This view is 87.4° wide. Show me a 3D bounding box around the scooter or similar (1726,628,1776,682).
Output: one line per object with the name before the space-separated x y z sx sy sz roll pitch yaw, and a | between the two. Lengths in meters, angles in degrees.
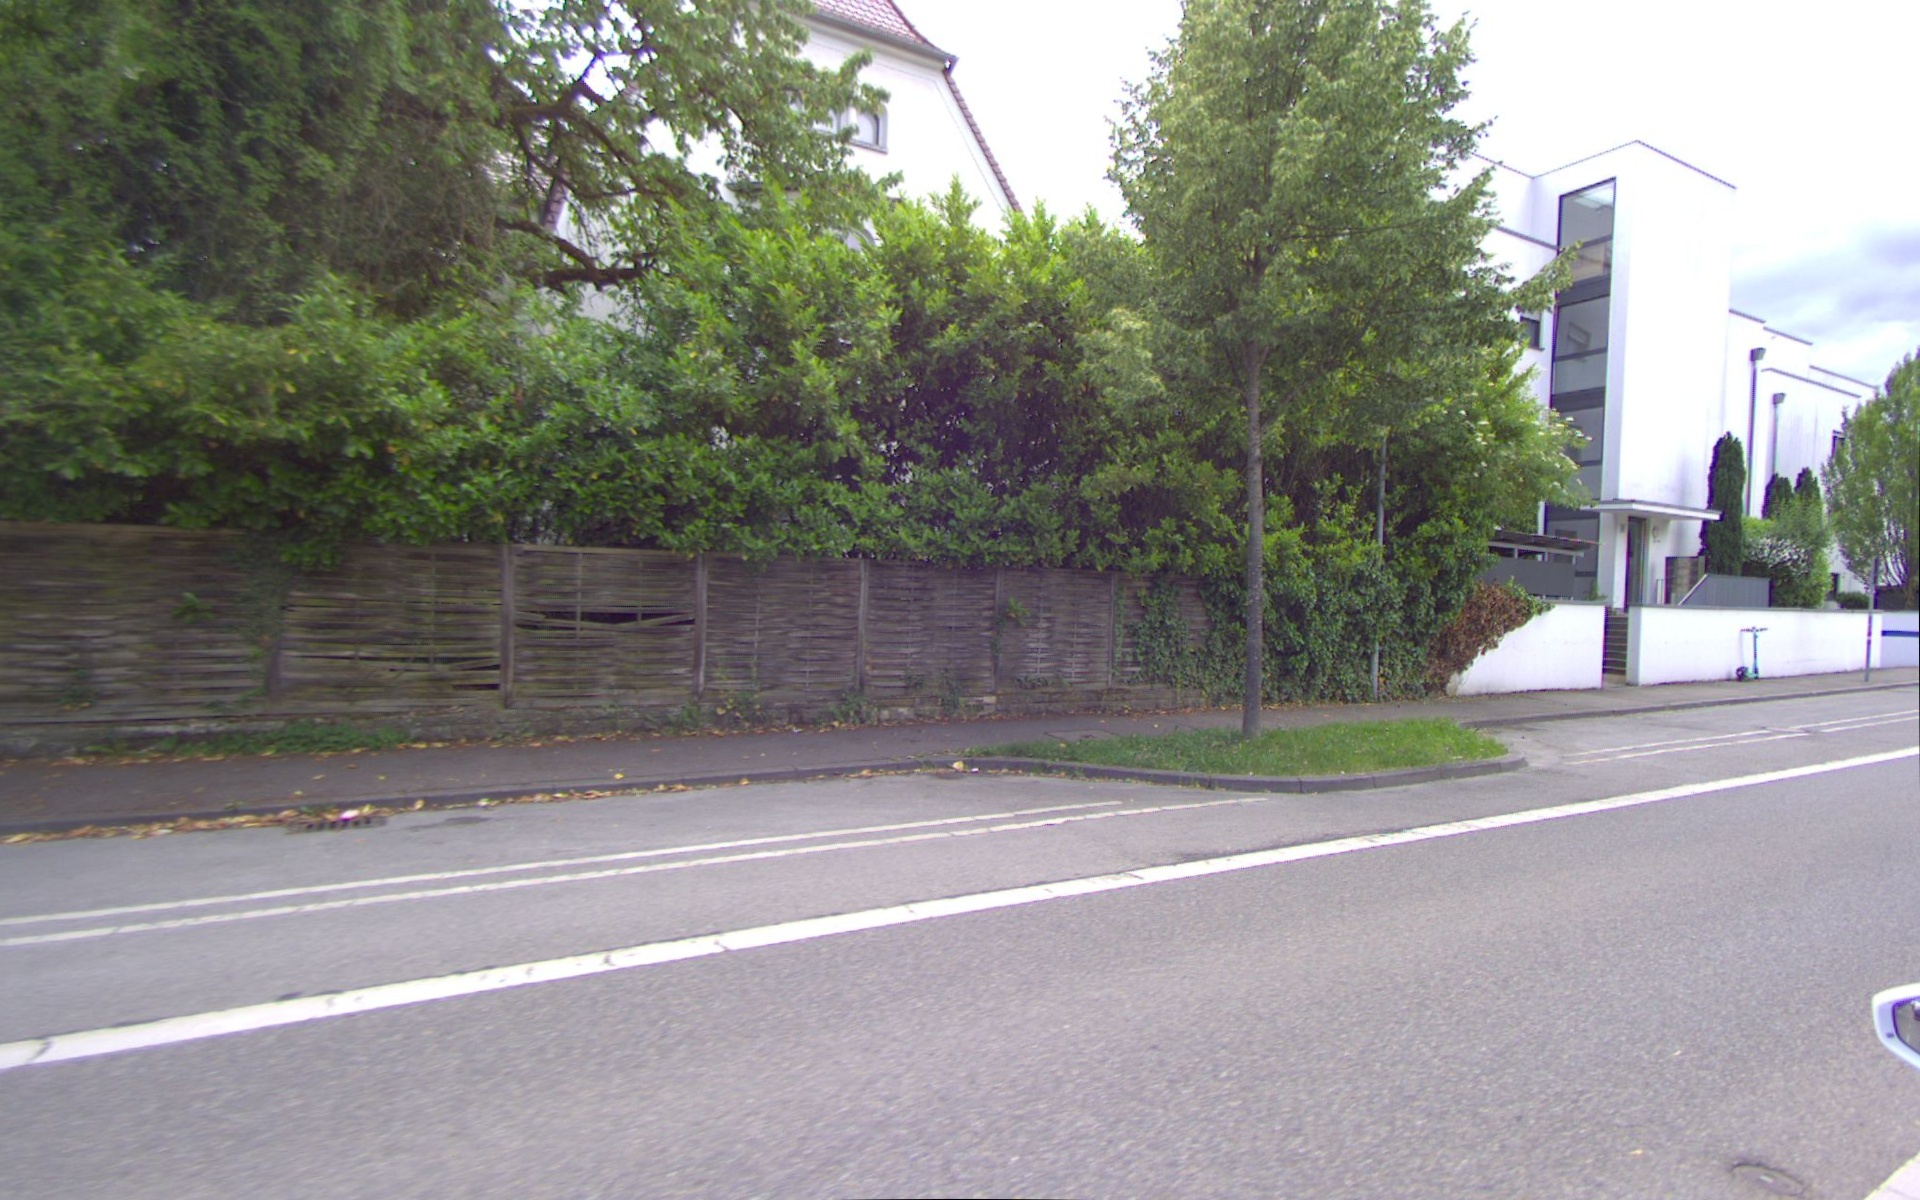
scooter or similar | 17.698 1.223 22.473 1.287 1.170 0.498 1 0 -34
